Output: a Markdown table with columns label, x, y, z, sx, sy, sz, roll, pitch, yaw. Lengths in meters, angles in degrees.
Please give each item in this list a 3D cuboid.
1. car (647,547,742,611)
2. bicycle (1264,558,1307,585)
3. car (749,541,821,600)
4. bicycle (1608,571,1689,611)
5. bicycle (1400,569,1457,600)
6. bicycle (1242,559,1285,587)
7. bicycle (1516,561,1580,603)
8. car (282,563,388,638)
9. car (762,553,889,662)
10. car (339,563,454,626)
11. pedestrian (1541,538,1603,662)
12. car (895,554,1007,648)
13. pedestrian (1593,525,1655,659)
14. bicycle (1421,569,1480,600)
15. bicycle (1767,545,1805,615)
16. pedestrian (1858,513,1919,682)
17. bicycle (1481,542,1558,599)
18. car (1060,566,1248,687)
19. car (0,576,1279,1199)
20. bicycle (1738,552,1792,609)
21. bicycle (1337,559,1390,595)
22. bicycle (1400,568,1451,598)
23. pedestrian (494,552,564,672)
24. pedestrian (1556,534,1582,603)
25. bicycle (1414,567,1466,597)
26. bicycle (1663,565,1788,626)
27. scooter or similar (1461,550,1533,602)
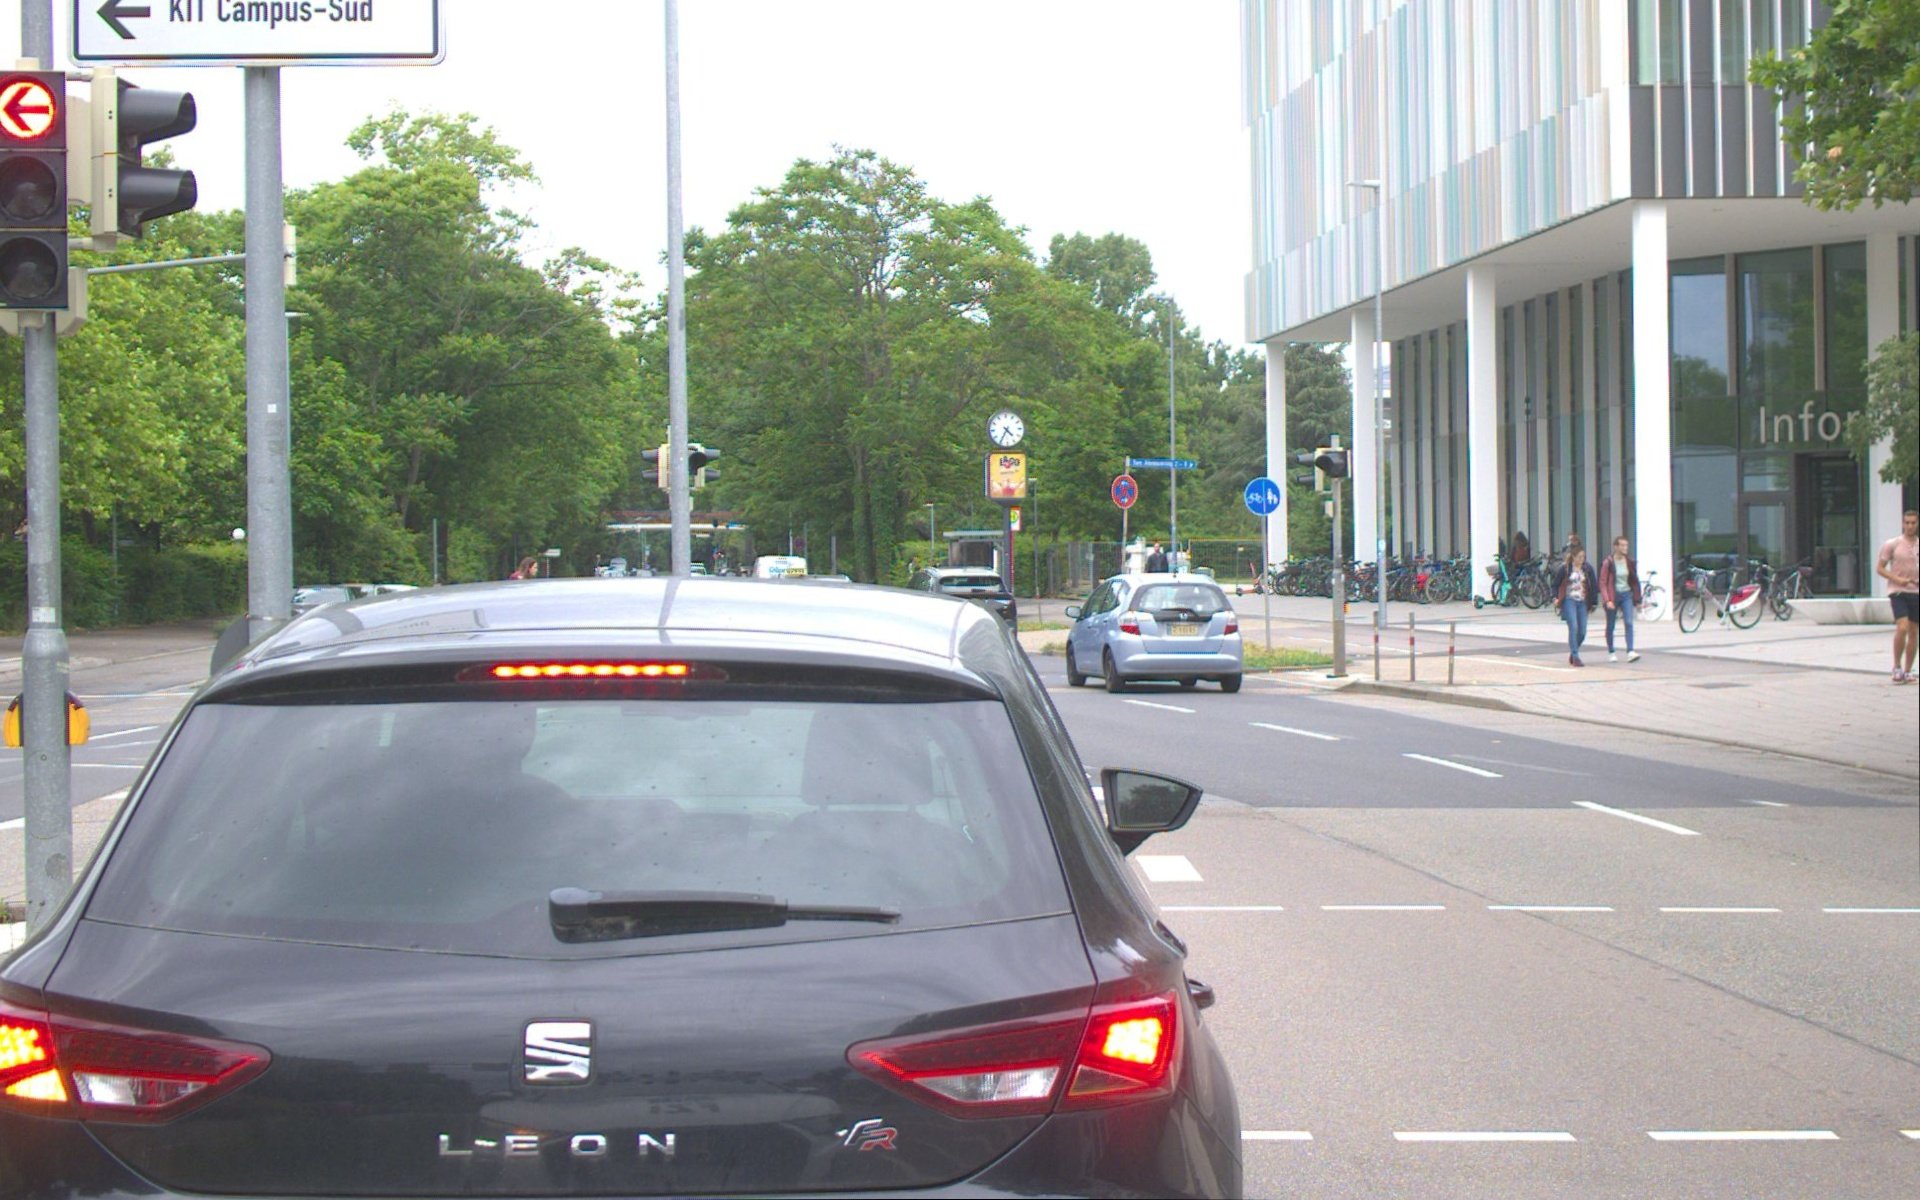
| label | x | y | z | sx | sy | sz | roll | pitch | yaw |
| --- | --- | --- | --- | --- | --- | --- | --- | --- | --- |
| car | -6.220 | -0.500 | 80.277 | 1.781 | 1.458 | 3.872 | 0 | 1 | -11 |
| bicycle | 10.125 | -0.884 | 106.858 | 1.234 | 0.820 | 0.482 | 1 | 0 | -22 |
| car | -6.095 | -1.057 | 119.624 | 1.966 | 1.965 | 4.345 | 1 | 1 | -10 |
| bicycle | 13.955 | -0.187 | 69.681 | 1.479 | 0.746 | 0.566 | -2 | 1 | -4 |
| bicycle | 11.722 | -0.385 | 85.990 | 1.375 | 0.703 | 0.489 | -2 | 1 | 8 |
| bicycle | 9.626 | -0.855 | 108.957 | 1.258 | 0.845 | 0.482 | 2 | 0 | -22 |
| bicycle | 13.004 | -0.399 | 76.023 | 1.438 | 0.855 | 0.365 | -3 | 1 | -27 |
| car | -15.666 | -0.003 | 86.322 | 1.906 | 1.711 | 4.000 | -2 | 1 | -1 |
| car | -2.145 | 0.091 | 54.899 | 1.883 | 1.594 | 4.447 | 2 | 1 | -2 |
| car | -15.722 | -0.166 | 96.112 | 1.759 | 1.582 | 3.998 | -2 | 1 | 12 |
| pedestrian | 8.173 | -0.010 | 45.908 | 0.687 | 1.634 | 0.633 | 0 | 1 | -1 |
| car | -0.199 | -0.013 | 62.886 | 1.907 | 1.619 | 4.491 | 1 | 1 | -2 |
| pedestrian | 8.882 | -0.117 | 45.986 | 0.687 | 1.775 | 0.677 | -1 | 1 | -1 |
| bicycle | 12.007 | -0.383 | 84.193 | 1.374 | 0.703 | 0.416 | -2 | 1 | 2 |
| bicycle | 15.467 | -0.376 | 64.389 | 0.526 | 1.248 | 1.664 | -2 | 1 | 18 |
| pedestrian | 10.108 | -0.041 | 36.566 | 0.847 | 1.759 | 0.768 | -2 | 1 | -1 |
| bicycle | 12.644 | -0.666 | 77.727 | 1.772 | 1.207 | 0.570 | -3 | 1 | -34 |
| car | 2.426 | 0.300 | 43.759 | 1.666 | 1.461 | 3.661 | 0 | 1 | -9 |
| car | -0.468 | 0.704 | 5.755 | 1.753 | 1.427 | 3.769 | 1 | 1 | 2 |
| bicycle | 15.733 | -0.387 | 67.183 | 0.620 | 1.042 | 1.703 | -2 | 1 | 26 |
| bicycle | 10.784 | -0.615 | 91.853 | 1.387 | 0.938 | 0.487 | -1 | 1 | 7 |
| bicycle | 11.759 | -0.419 | 86.882 | 1.240 | 0.703 | 0.489 | -2 | 1 | 8 |
| pedestrian | -5.838 | 0.151 | 46.618 | 0.874 | 1.581 | 0.543 | -2 | 1 | -7 |
| pedestrian | 12.172 | -0.630 | 68.697 | 0.472 | 1.357 | 0.445 | -2 | 1 | 10 |
| bicycle | 12.235 | -0.461 | 87.563 | 1.273 | 0.703 | 0.485 | -2 | 1 | 7 |
| bicycle | 12.513 | -0.078 | 56.194 | 1.886 | 0.895 | 0.697 | -3 | 1 | -21 |
| scooter or similar | 12.229 | -0.547 | 78.307 | 1.671 | 1.103 | 0.499 | -3 | 1 | -32 |
